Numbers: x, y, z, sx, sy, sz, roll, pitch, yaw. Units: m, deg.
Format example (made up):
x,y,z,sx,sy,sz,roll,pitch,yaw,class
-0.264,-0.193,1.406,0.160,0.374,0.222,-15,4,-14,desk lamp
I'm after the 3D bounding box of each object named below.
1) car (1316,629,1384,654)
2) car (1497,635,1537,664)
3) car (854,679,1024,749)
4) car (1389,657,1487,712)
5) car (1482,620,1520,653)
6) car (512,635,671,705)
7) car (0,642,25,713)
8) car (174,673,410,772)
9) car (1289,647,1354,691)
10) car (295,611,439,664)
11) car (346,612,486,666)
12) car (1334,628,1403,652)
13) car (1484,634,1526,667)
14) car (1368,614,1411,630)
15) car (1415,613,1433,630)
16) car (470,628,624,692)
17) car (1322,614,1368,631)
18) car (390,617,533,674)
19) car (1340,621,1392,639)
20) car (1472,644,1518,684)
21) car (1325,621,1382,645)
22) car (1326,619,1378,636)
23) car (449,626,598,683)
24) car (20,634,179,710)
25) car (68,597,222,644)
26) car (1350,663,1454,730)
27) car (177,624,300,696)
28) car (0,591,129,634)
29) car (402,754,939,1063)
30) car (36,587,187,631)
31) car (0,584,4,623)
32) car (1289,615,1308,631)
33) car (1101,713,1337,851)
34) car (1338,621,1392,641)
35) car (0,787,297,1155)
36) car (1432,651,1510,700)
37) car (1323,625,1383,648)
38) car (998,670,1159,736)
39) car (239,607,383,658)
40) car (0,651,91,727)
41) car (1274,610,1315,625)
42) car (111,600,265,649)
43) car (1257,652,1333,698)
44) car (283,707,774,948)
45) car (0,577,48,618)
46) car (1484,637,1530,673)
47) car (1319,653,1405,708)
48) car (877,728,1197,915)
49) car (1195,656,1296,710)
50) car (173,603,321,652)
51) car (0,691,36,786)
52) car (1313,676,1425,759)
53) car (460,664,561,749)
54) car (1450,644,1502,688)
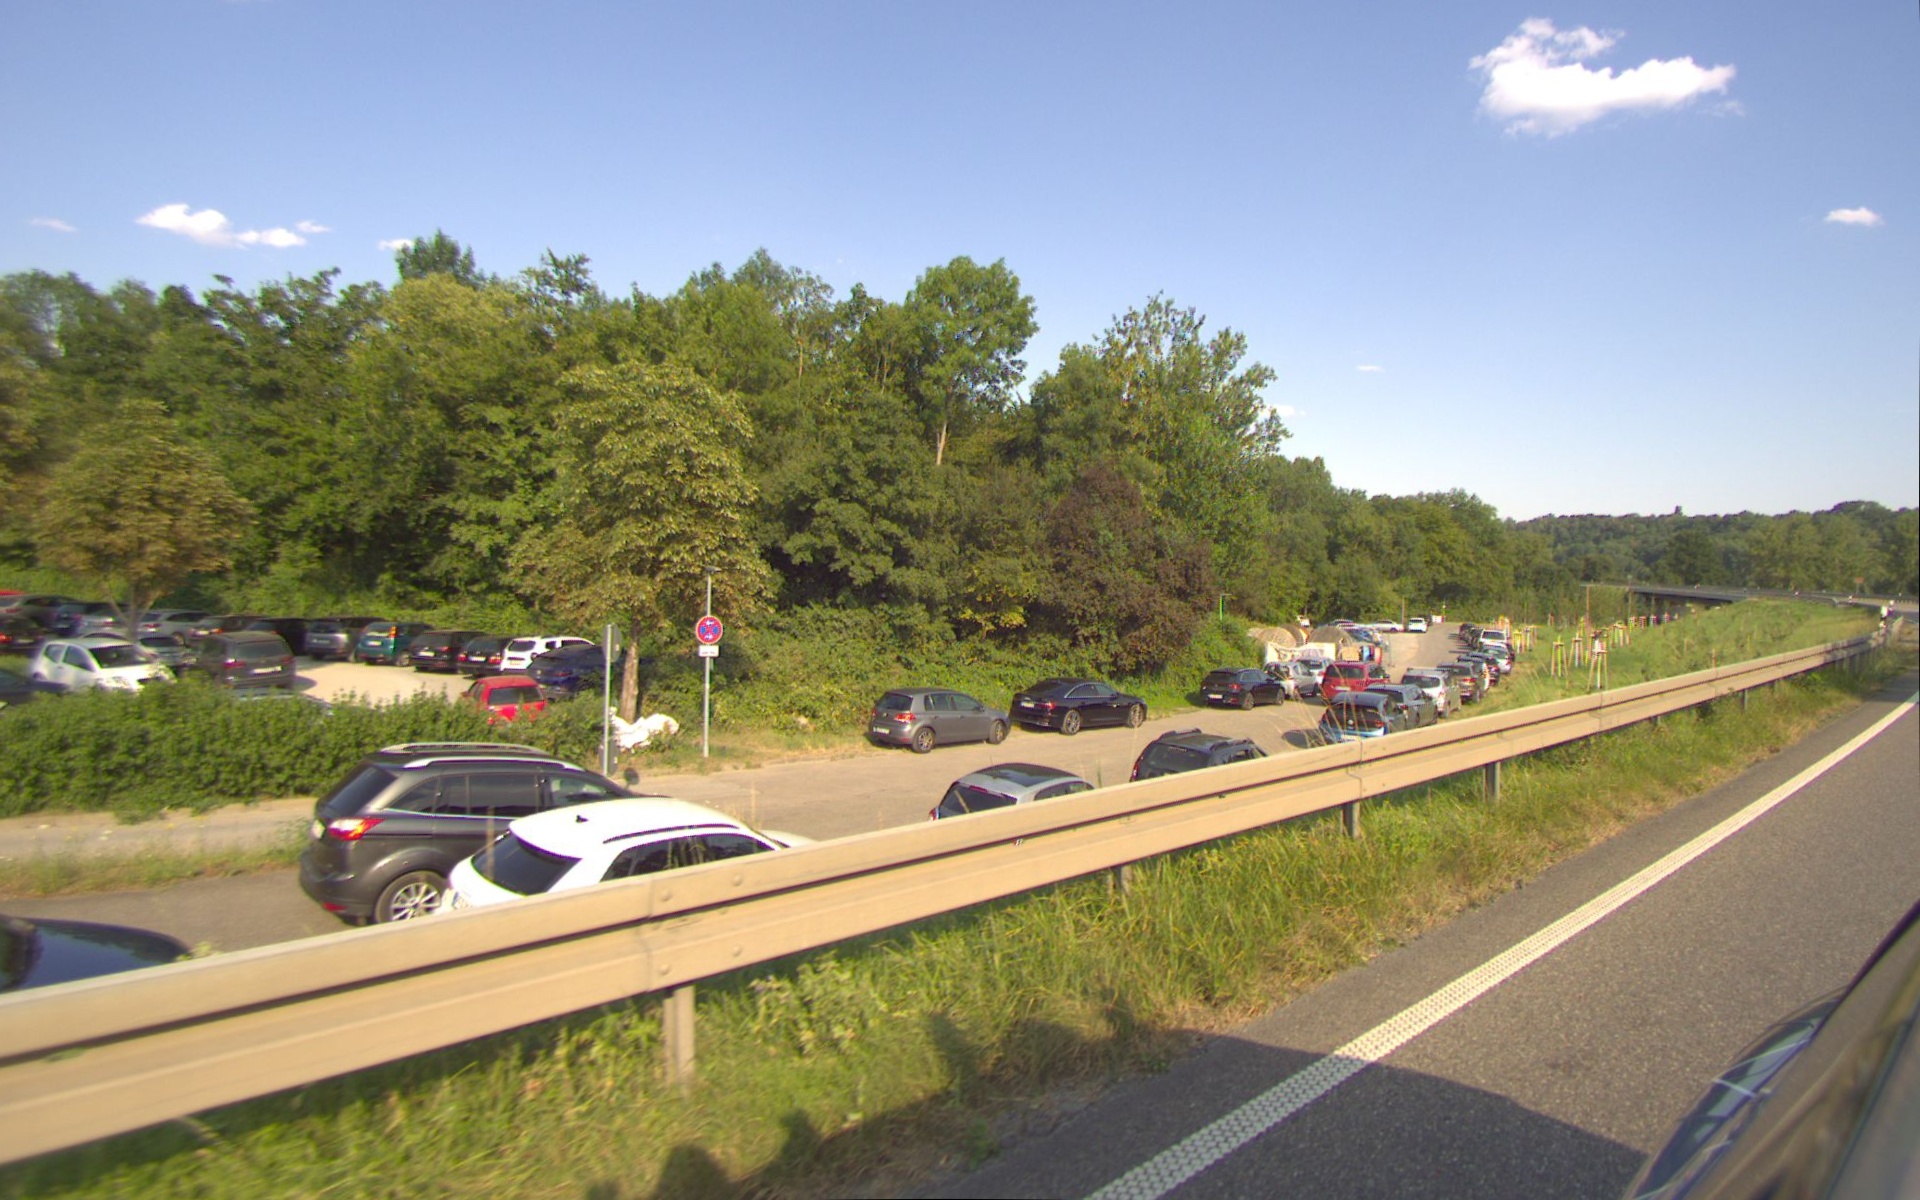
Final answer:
x,y,z,sx,sy,sz,roll,pitch,yaw,class
26.869,2.835,69.699,4.205,1.508,1.817,1,1,27,car
36.086,3.162,65.650,1.879,1.500,4.740,5,2,25,car
-0.494,2.838,25.778,4.022,1.415,1.707,3,2,-36,car
17.354,3.004,36.650,1.891,1.579,4.708,2,1,43,car
39.693,2.659,74.356,2.105,2.042,5.332,5,2,25,car
-11.021,2.043,30.628,1.786,1.712,4.554,1,1,26,car
-25.148,1.950,23.658,1.779,1.712,4.571,1,1,17,car
-14.308,2.540,21.816,1.797,1.562,3.939,1,1,42,car
16.011,3.006,44.737,1.696,1.528,3.894,2,2,36,car
-22.174,1.349,38.059,1.781,1.712,4.565,1,1,20,car
-20.096,1.382,37.637,1.781,1.712,4.565,1,1,20,car
28.875,2.791,71.611,4.229,1.509,1.806,1,-1,41,car
32.891,3.006,61.165,1.879,1.578,4.740,5,2,25,car
46.230,2.364,108.905,4.205,1.474,1.603,3,1,26,car
51.638,2.370,112.639,1.643,1.687,4.666,2,2,26,car
-13.198,1.853,32.651,1.786,1.712,4.554,1,1,26,car
37.758,2.186,99.310,4.194,1.474,1.607,2,1,20,car
-17.457,1.523,35.682,1.781,1.712,4.565,1,1,20,car
35.413,2.584,88.353,4.193,1.474,1.607,0,1,20,car
27.190,3.197,51.395,1.882,1.578,4.734,5,2,28,car
31.284,2.622,80.584,4.195,1.764,1.821,0,0,21,car
36.312,2.532,93.792,4.355,1.474,1.726,1,0,17,car
-14.884,1.813,34.823,1.876,1.579,4.748,2,1,22,car
-22.747,1.843,26.749,4.106,1.692,1.641,1,1,25,car
-32.357,0.757,40.349,1.781,1.712,4.565,1,1,20,car
13.982,2.961,31.860,1.888,1.578,4.718,6,2,37,car
-21.040,1.679,29.464,4.127,1.775,1.793,2,1,38,car
-38.213,0.473,42.727,1.781,1.712,4.565,1,1,20,car
-2.570,2.671,9.939,1.893,1.578,4.706,6,3,44,car
-35.297,0.332,42.252,1.781,1.712,4.565,1,1,20,car
-44.403,0.169,43.478,1.781,1.712,4.565,1,1,20,car
33.935,2.305,101.563,1.477,1.474,3.659,2,1,14,car
4.699,3.056,17.902,1.893,1.578,4.706,6,3,44,car
34.244,2.621,85.698,4.195,1.517,1.760,0,0,21,car
-6.775,2.274,5.806,4.699,1.578,1.896,2,2,-42,car
20.782,3.003,41.056,1.889,1.579,4.715,2,1,38,car
29.946,2.774,77.158,4.203,1.624,1.817,0,1,26,car
3.502,2.935,29.455,4.695,1.415,1.707,1,3,-36,car
-24.968,1.203,39.154,1.781,1.712,4.565,1,1,20,car
-23.048,2.121,23.166,1.779,1.562,4.571,1,1,17,car
38.497,1.991,116.493,4.214,1.474,1.693,2,0,32,car
-30.062,0.911,39.590,1.781,1.712,4.565,1,1,20,car
13.765,3.019,41.426,1.698,1.415,3.891,5,4,38,car
-4.670,2.307,11.467,4.701,1.695,1.895,2,2,-43,car
-41.640,-0.117,42.600,1.781,1.712,4.565,1,1,20,car
30.382,3.018,56.351,1.879,1.578,4.740,5,2,25,car
15.600,3.035,39.111,1.887,1.708,5.020,3,1,36,car
1.251,2.912,14.284,1.893,1.578,4.706,6,3,44,car
10.578,2.993,37.231,1.700,1.415,4.714,5,4,40,car
-27.797,1.019,39.634,1.781,1.712,4.565,1,1,20,car
-19.108,2.502,17.622,4.208,1.504,1.695,1,1,-34,car
11.294,3.121,27.752,1.886,1.578,4.725,5,2,33,car
-11.064,2.527,24.799,1.622,1.562,3.778,0,1,-34,car
23.765,2.988,46.525,1.882,1.578,4.734,5,2,28,car
